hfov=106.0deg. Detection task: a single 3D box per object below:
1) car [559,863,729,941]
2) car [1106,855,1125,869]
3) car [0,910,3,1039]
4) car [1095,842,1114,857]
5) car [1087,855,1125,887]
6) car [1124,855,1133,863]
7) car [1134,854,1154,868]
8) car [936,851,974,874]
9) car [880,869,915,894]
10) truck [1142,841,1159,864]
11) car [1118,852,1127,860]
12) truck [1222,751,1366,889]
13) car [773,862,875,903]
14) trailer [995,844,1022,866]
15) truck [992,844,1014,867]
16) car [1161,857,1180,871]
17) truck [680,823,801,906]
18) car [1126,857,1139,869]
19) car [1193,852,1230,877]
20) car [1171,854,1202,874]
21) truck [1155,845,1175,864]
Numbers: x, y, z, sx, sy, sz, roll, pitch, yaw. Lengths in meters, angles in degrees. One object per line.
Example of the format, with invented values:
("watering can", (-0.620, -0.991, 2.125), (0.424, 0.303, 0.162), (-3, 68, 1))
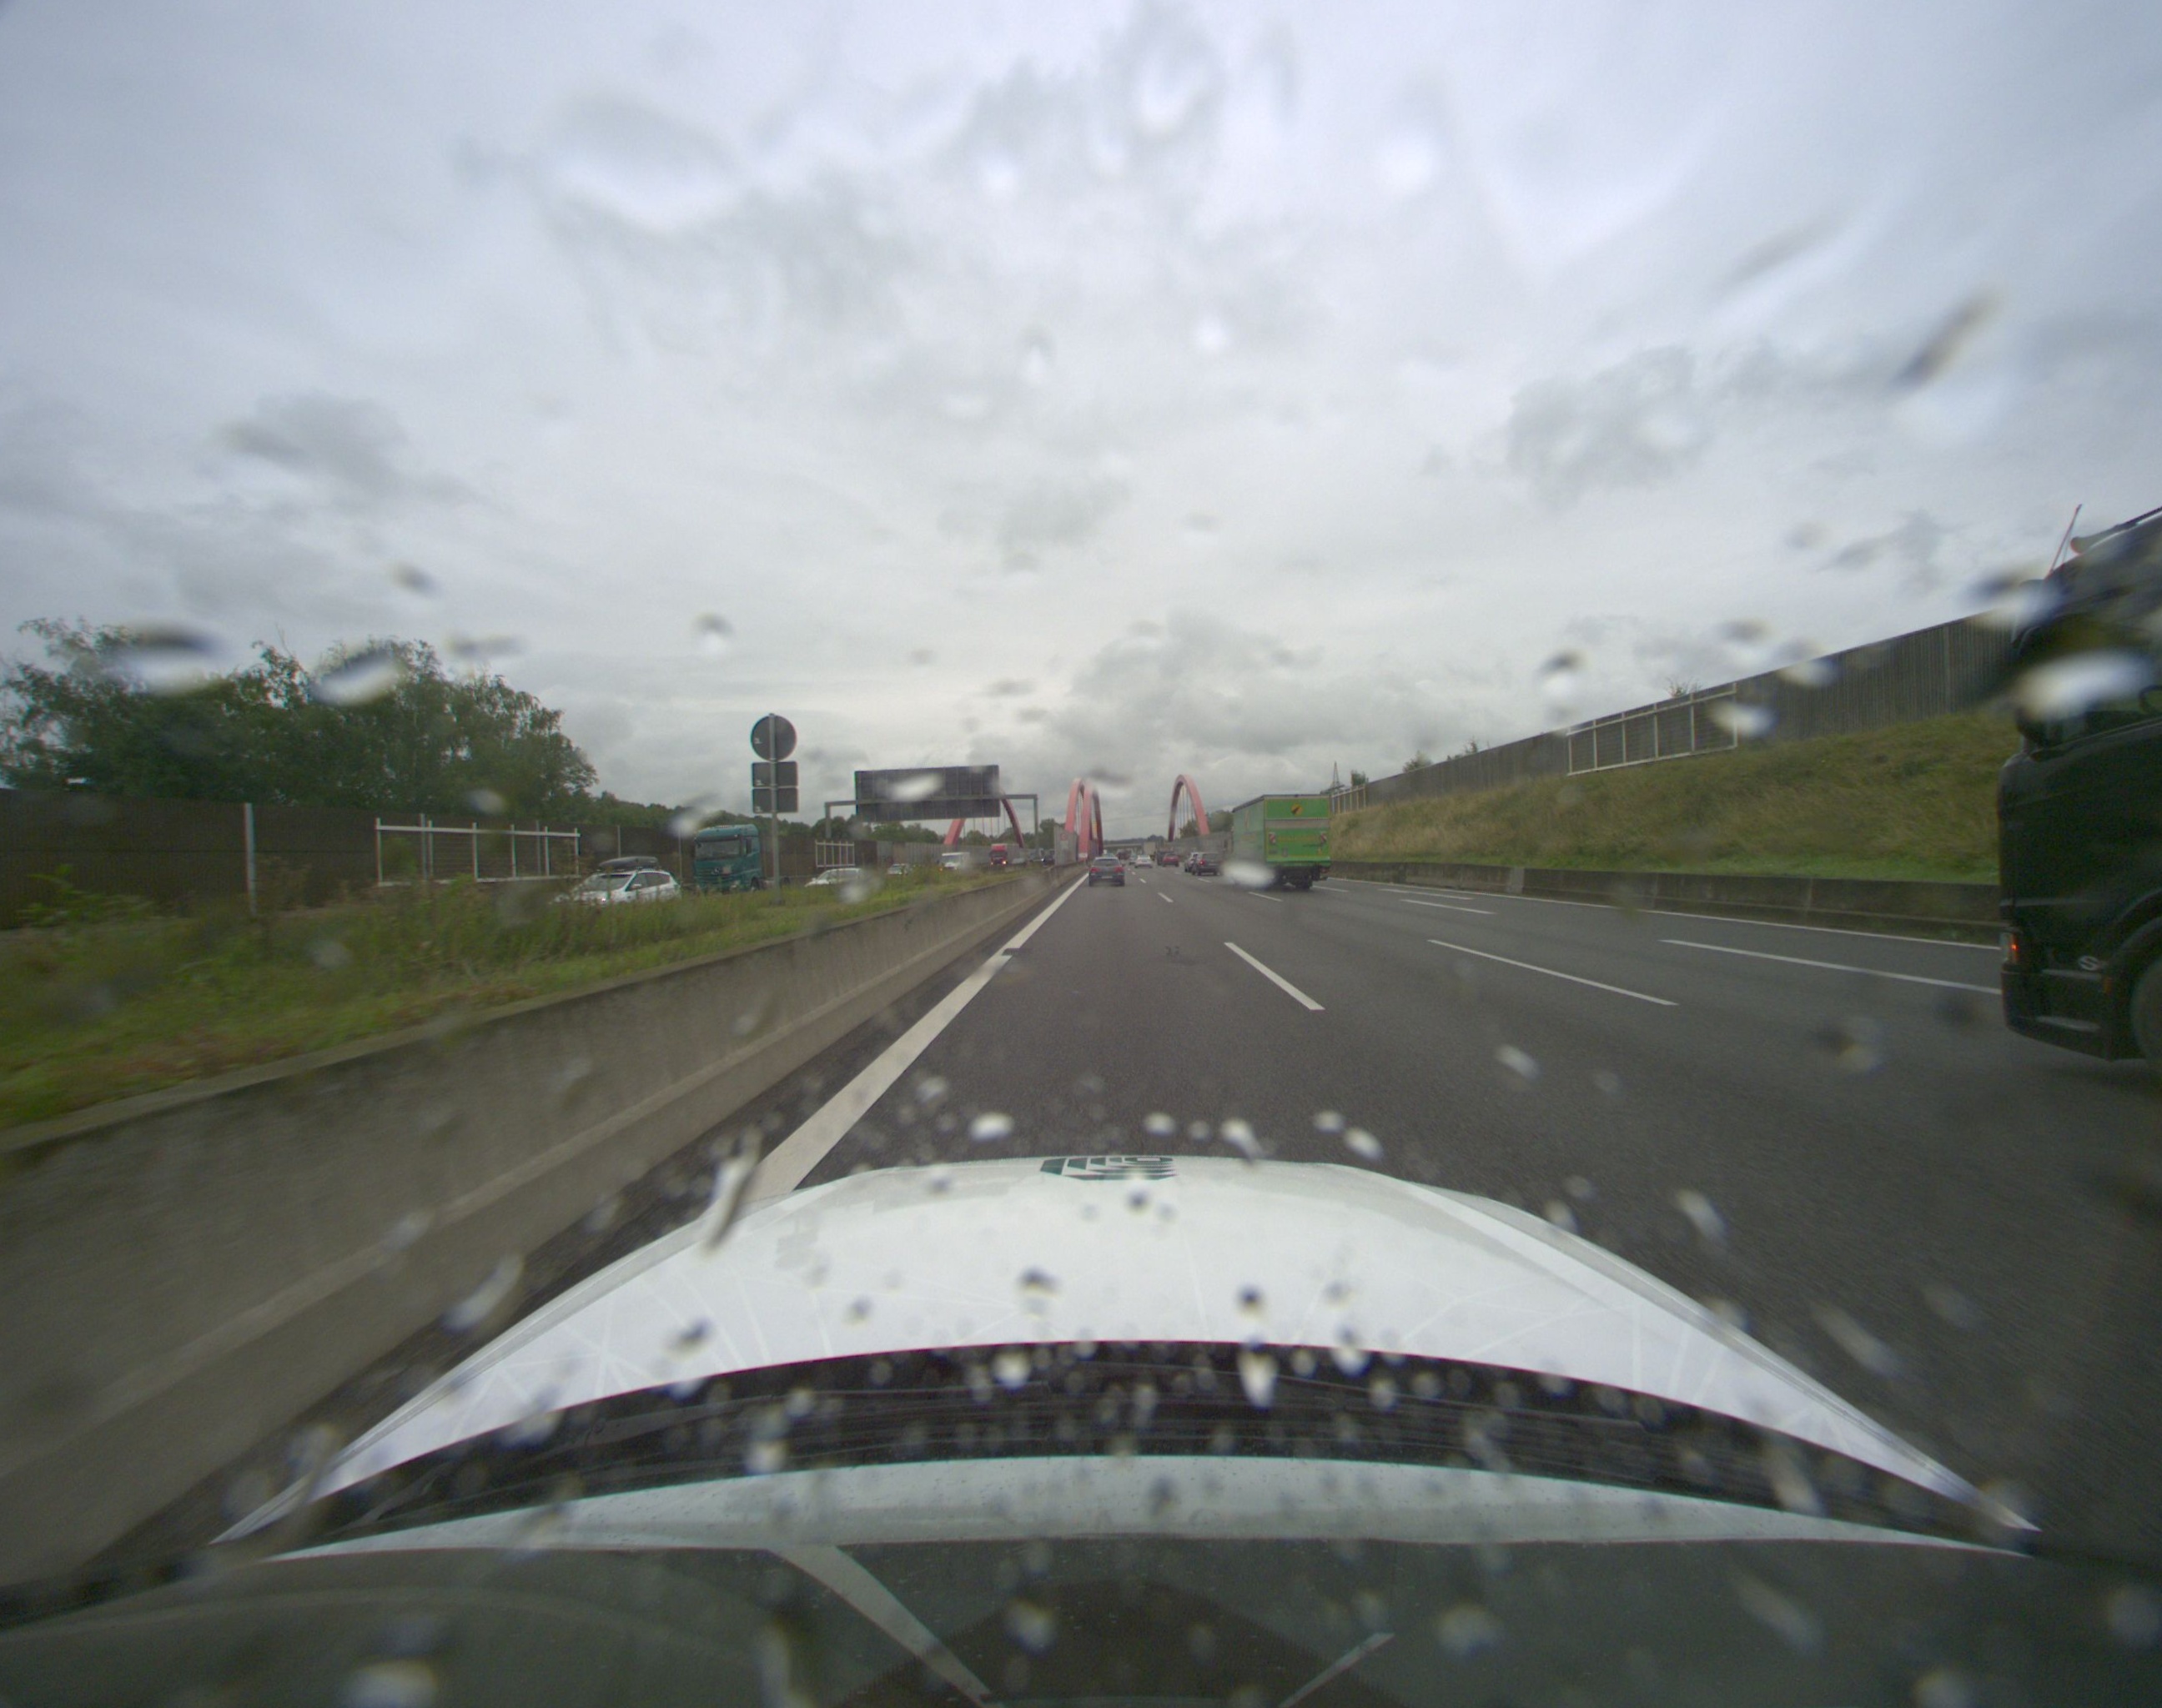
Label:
("car", (-13.005, 1.333, 24.783), (1.986, 2.013, 5.621), (-1, 0, 2))
("car", (3.420, 0.778, 80.717), (1.775, 1.406, 3.627), (-1, 0, 1))
("car", (-17.933, 1.899, 10.427), (1.986, 2.013, 4.654), (-1, 0, 2))
("car", (2.572, -0.538, 90.633), (1.986, 1.585, 4.001), (-2, 0, 1))
("car", (1.268, 0.804, 40.271), (1.757, 1.453, 4.002), (-1, 0, 2))
("car", (11.626, 1.221, 199.859), (1.986, 2.014, 4.002), (0, 0, 2))
("car", (6.838, 0.742, 88.525), (1.986, 1.486, 4.001), (-1, 0, 1))
("car", (-11.740, 0.767, 76.361), (2.205, 2.013, 7.062), (-1, 0, 2))
("car", (-15.774, 2.339, 70.062), (1.986, 1.980, 4.001), (-1, 0, 1))
("truck", (14.266, -0.326, 168.103), (3.032, 4.734, 7.684), (0, 0, 2))
("car", (9.061, 0.439, 177.432), (1.986, 1.815, 4.002), (-1, 0, 2))
("truck", (9.062, -1.277, 36.564), (3.982, 5.266, 11.225), (0, 0, 2))
("car", (-9.298, 0.977, 29.996), (1.986, 1.286, 5.229), (-1, 0, 1))
("trailer", (-12.776, 0.178, 144.687), (2.973, 3.728, 14.313), (-1, 0, 2))
("truck", (-13.037, 0.225, 136.683), (2.973, 3.753, 5.919), (-1, 0, 2))
("car", (10.653, 1.168, 96.830), (1.950, 1.647, 4.001), (0, 0, 1))
("truck", (-17.045, 0.517, 41.458), (2.852, 3.838, 7.524), (0, 0, 1))
("car", (7.336, 1.279, 117.270), (1.696, 1.543, 3.840), (-1, 0, 1))
("car", (9.067, 0.711, 56.868), (1.906, 1.670, 4.103), (-1, 0, 0))
("car", (8.703, 0.806, 67.447), (1.986, 1.619, 5.329), (0, 0, 1))
("truck", (11.476, 0.086, 111.510), (2.352, 2.506, 6.147), (-1, 0, 2))
